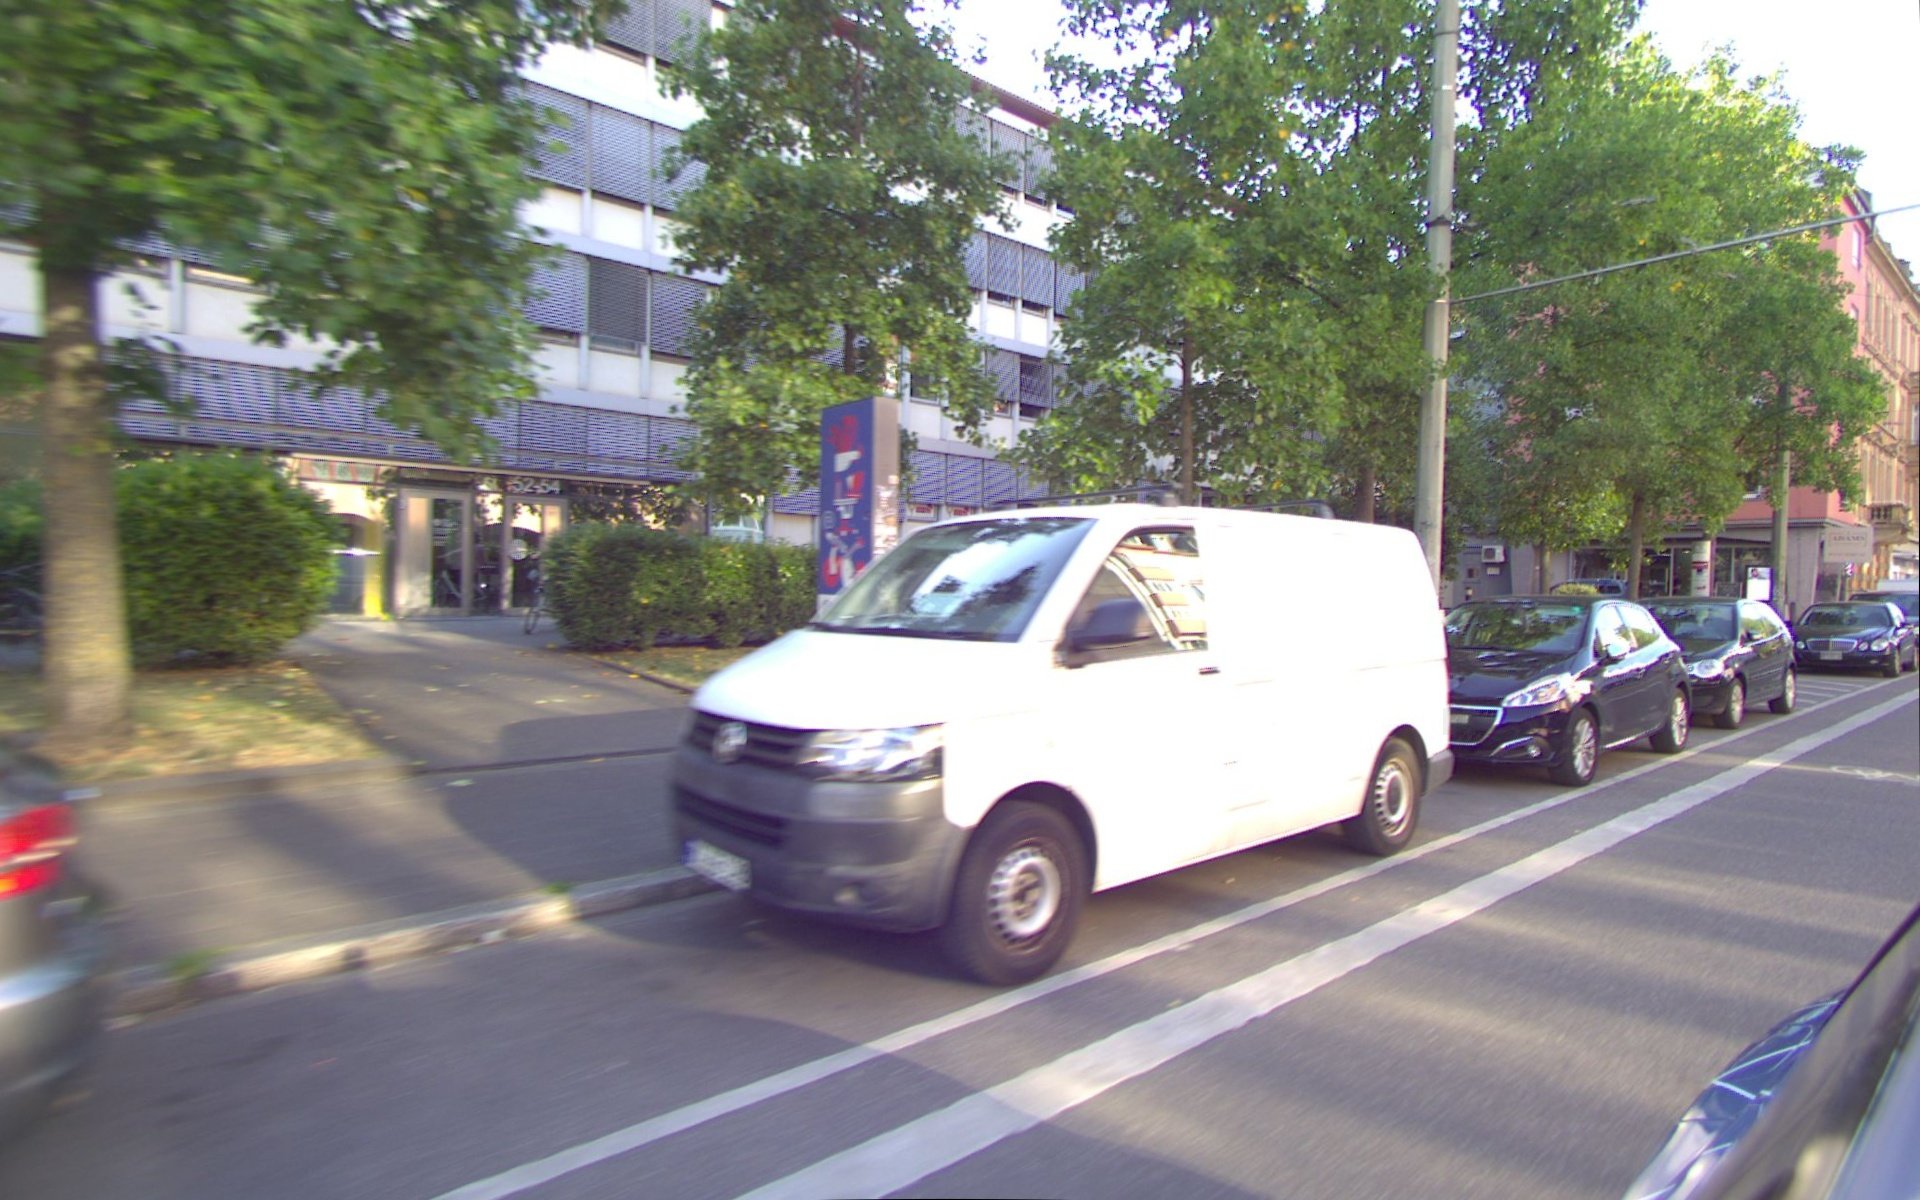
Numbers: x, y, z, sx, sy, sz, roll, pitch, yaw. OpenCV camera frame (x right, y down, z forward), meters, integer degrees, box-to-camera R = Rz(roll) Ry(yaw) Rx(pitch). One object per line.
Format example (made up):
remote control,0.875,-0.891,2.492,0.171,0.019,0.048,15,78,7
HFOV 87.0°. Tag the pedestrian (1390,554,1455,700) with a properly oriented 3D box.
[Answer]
pedestrian,5.653,0.314,12.385,0.429,1.734,0.494,0,4,-41

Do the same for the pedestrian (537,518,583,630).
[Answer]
pedestrian,-6.272,-0.411,15.849,0.537,1.710,0.569,1,1,-34

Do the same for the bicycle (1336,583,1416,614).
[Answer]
bicycle,16.142,-0.064,39.336,0.809,1.071,2.800,0,2,-44

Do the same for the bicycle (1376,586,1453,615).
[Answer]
bicycle,18.896,0.000,42.119,0.809,1.071,2.800,0,2,-44

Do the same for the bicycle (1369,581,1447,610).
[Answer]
bicycle,18.234,-0.210,41.291,0.809,1.071,2.800,0,2,-44

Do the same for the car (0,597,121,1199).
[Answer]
car,-3.852,0.735,1.400,4.096,1.422,1.676,-1,1,-42

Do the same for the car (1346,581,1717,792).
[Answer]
car,5.275,0.616,9.153,3.842,1.511,1.687,0,0,-40

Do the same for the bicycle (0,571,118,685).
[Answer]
bicycle,-8.508,0.234,9.379,1.600,0.971,0.366,2,2,21

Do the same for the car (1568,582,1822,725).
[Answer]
car,9.196,0.543,12.561,3.831,1.513,1.597,0,1,-39

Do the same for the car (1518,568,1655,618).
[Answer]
car,25.214,-0.324,40.861,1.563,1.692,4.362,0,4,-44

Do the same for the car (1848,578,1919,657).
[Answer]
car,22.929,0.384,24.372,4.397,1.767,1.782,0,1,-41

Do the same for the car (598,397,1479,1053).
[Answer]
car,0.790,0.377,5.447,4.818,2.047,1.881,0,0,-40

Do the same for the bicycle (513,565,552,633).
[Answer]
bicycle,-6.496,-0.032,15.365,0.361,0.971,1.250,0,2,-32

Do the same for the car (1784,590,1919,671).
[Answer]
car,18.232,0.552,20.443,4.138,1.446,1.782,0,0,-41

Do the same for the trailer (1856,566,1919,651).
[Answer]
trailer,26.376,0.213,27.768,5.218,2.176,1.784,0,0,-38
